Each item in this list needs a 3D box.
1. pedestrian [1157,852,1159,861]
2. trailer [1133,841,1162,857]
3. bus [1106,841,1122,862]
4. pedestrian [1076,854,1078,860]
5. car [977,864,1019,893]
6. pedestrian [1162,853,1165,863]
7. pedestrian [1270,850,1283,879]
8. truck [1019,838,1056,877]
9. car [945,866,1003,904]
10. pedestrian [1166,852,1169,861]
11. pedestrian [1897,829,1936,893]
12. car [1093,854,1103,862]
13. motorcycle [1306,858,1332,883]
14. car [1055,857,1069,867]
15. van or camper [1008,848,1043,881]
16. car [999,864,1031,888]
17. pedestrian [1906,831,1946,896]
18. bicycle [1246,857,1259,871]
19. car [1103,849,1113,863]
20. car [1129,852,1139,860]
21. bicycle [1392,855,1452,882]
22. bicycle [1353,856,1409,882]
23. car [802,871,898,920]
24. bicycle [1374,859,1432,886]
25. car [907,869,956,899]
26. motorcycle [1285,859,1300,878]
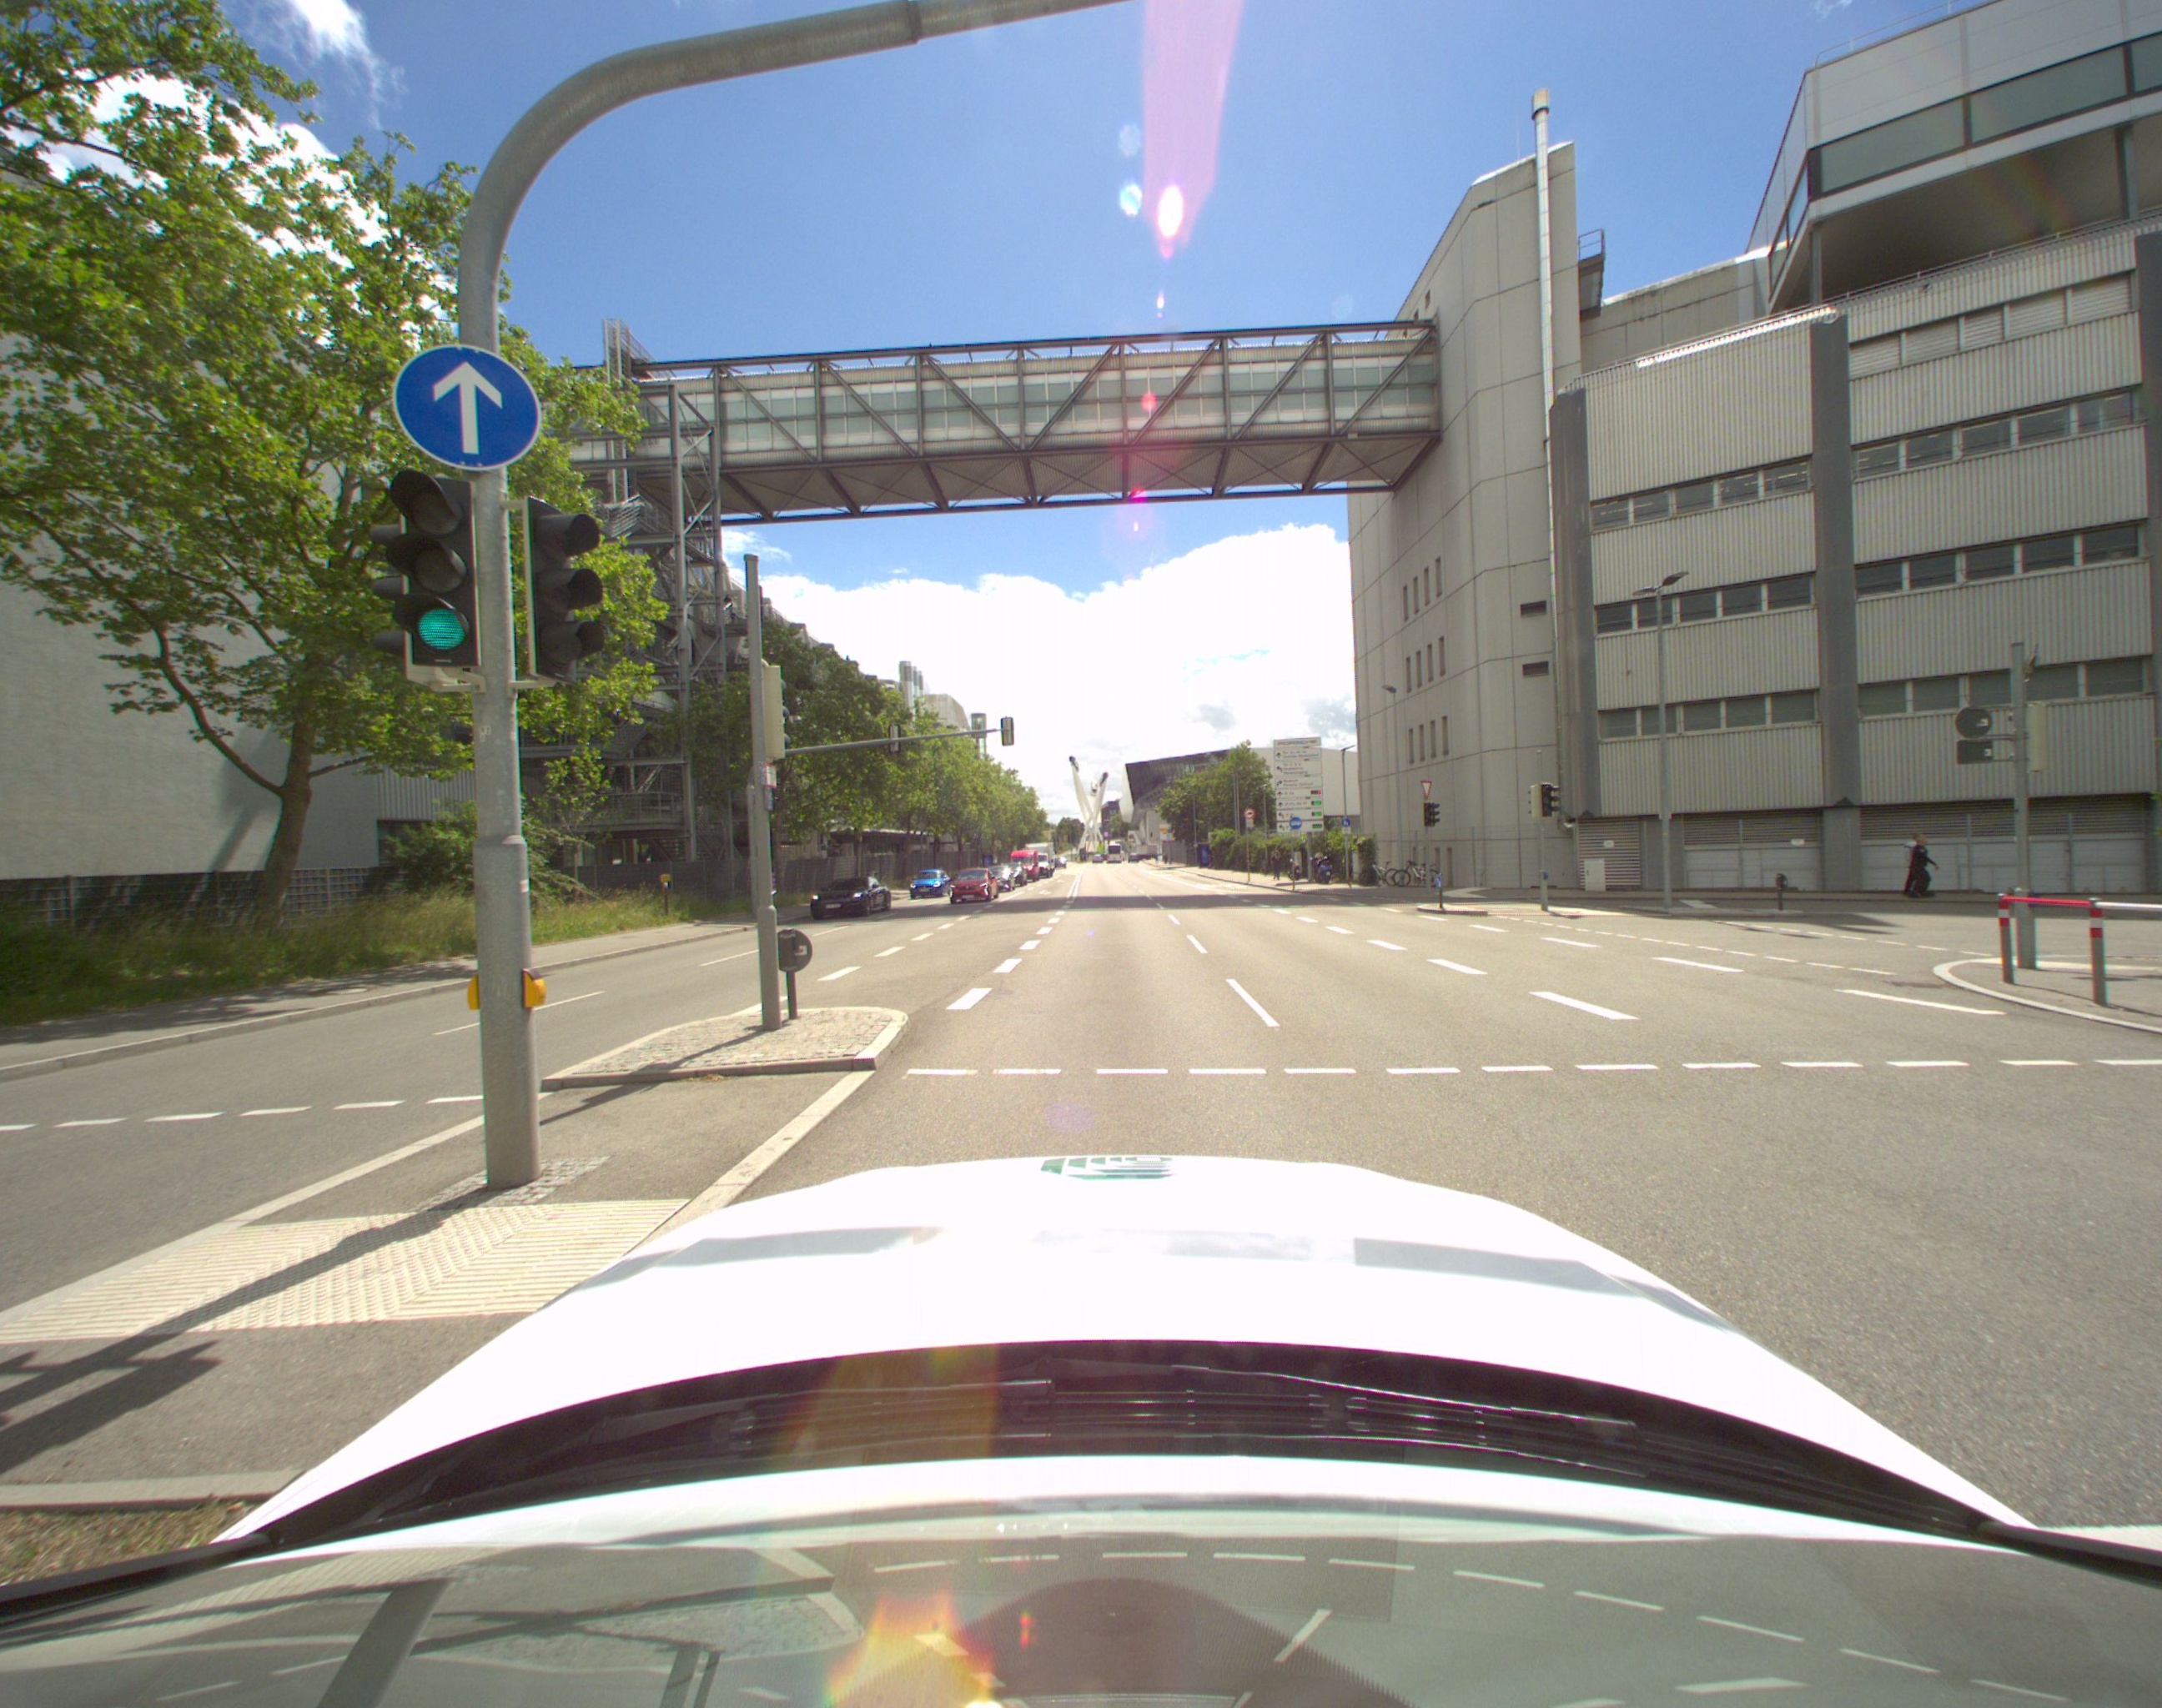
[{"bbox_3d":[11.685,0.382,123.761,0.384,1.421,0.424,0,-1,2],"label":"pedestrian"},{"bbox_3d":[13.950,-1.041,170.155,3.291,2.995,10.429,-1,-1,21],"label":"trailer"},{"bbox_3d":[5.984,-0.413,145.428,2.776,3.686,6.947,0,-1,3],"label":"bus"},{"bbox_3d":[-0.874,0.637,174.520,0.385,1.421,0.423,0,-1,-3],"label":"pedestrian"},{"bbox_3d":[-4.627,1.336,45.833,1.762,1.420,3.703,-4,0,2],"label":"car"},{"bbox_3d":[12.581,0.609,123.890,0.384,1.421,0.424,0,-1,2],"label":"pedestrian"},{"bbox_3d":[11.263,0.603,46.975,0.532,1.640,0.657,0,-1,-4],"label":"pedestrian"},{"bbox_3d":[-3.800,0.325,73.061,2.581,3.324,7.083,0,-1,3],"label":"truck"},{"bbox_3d":[-4.577,1.306,35.401,1.762,1.420,3.703,-4,0,2],"label":"car"},{"bbox_3d":[12.701,0.387,119.592,0.384,1.421,0.424,0,-1,2],"label":"pedestrian"},{"bbox_3d":[23.602,0.198,23.010,0.650,1.760,0.487,-1,2,29],"label":"pedestrian"},{"bbox_3d":[3.075,0.744,143.876,1.551,1.273,3.704,-4,0,3],"label":"car"},{"bbox_3d":[11.462,0.812,39.281,0.418,1.166,1.950,0,-1,-9],"label":"motorcycle"},{"bbox_3d":[-2.560,1.045,111.709,1.551,1.273,3.703,-4,0,3],"label":"car"},{"bbox_3d":[-4.287,0.803,63.492,2.038,2.466,5.598,-1,0,3],"label":"van or camper"},{"bbox_3d":[-4.362,1.428,53.930,1.551,1.448,3.775,-4,0,3],"label":"car"},{"bbox_3d":[23.254,0.256,22.423,0.650,1.755,0.524,-1,3,29],"label":"pedestrian"},{"bbox_3d":[12.531,0.751,59.517,0.417,1.022,1.911,0,-1,-2],"label":"bicycle"},{"bbox_3d":[5.413,0.385,164.317,1.834,2.624,4.006,-1,-1,5],"label":"car"},{"bbox_3d":[9.278,0.367,142.673,1.551,1.273,3.704,-4,0,3],"label":"car"},{"bbox_3d":[13.702,0.589,32.767,2.166,1.087,0.480,-1,-2,37],"label":"bicycle"},{"bbox_3d":[12.896,0.652,35.093,2.196,1.087,0.480,-1,-2,37],"label":"bicycle"},{"bbox_3d":[-8.416,1.463,30.210,1.910,1.488,4.775,-4,0,3],"label":"car"},{"bbox_3d":[13.330,0.763,33.748,2.196,1.087,0.480,-1,-2,37],"label":"bicycle"},{"bbox_3d":[-7.982,1.557,43.703,1.720,1.382,3.703,-4,0,2],"label":"car"},{"bbox_3d":[11.983,0.819,46.258,0.455,1.022,1.914,-1,-1,4],"label":"motorcycle"}]
